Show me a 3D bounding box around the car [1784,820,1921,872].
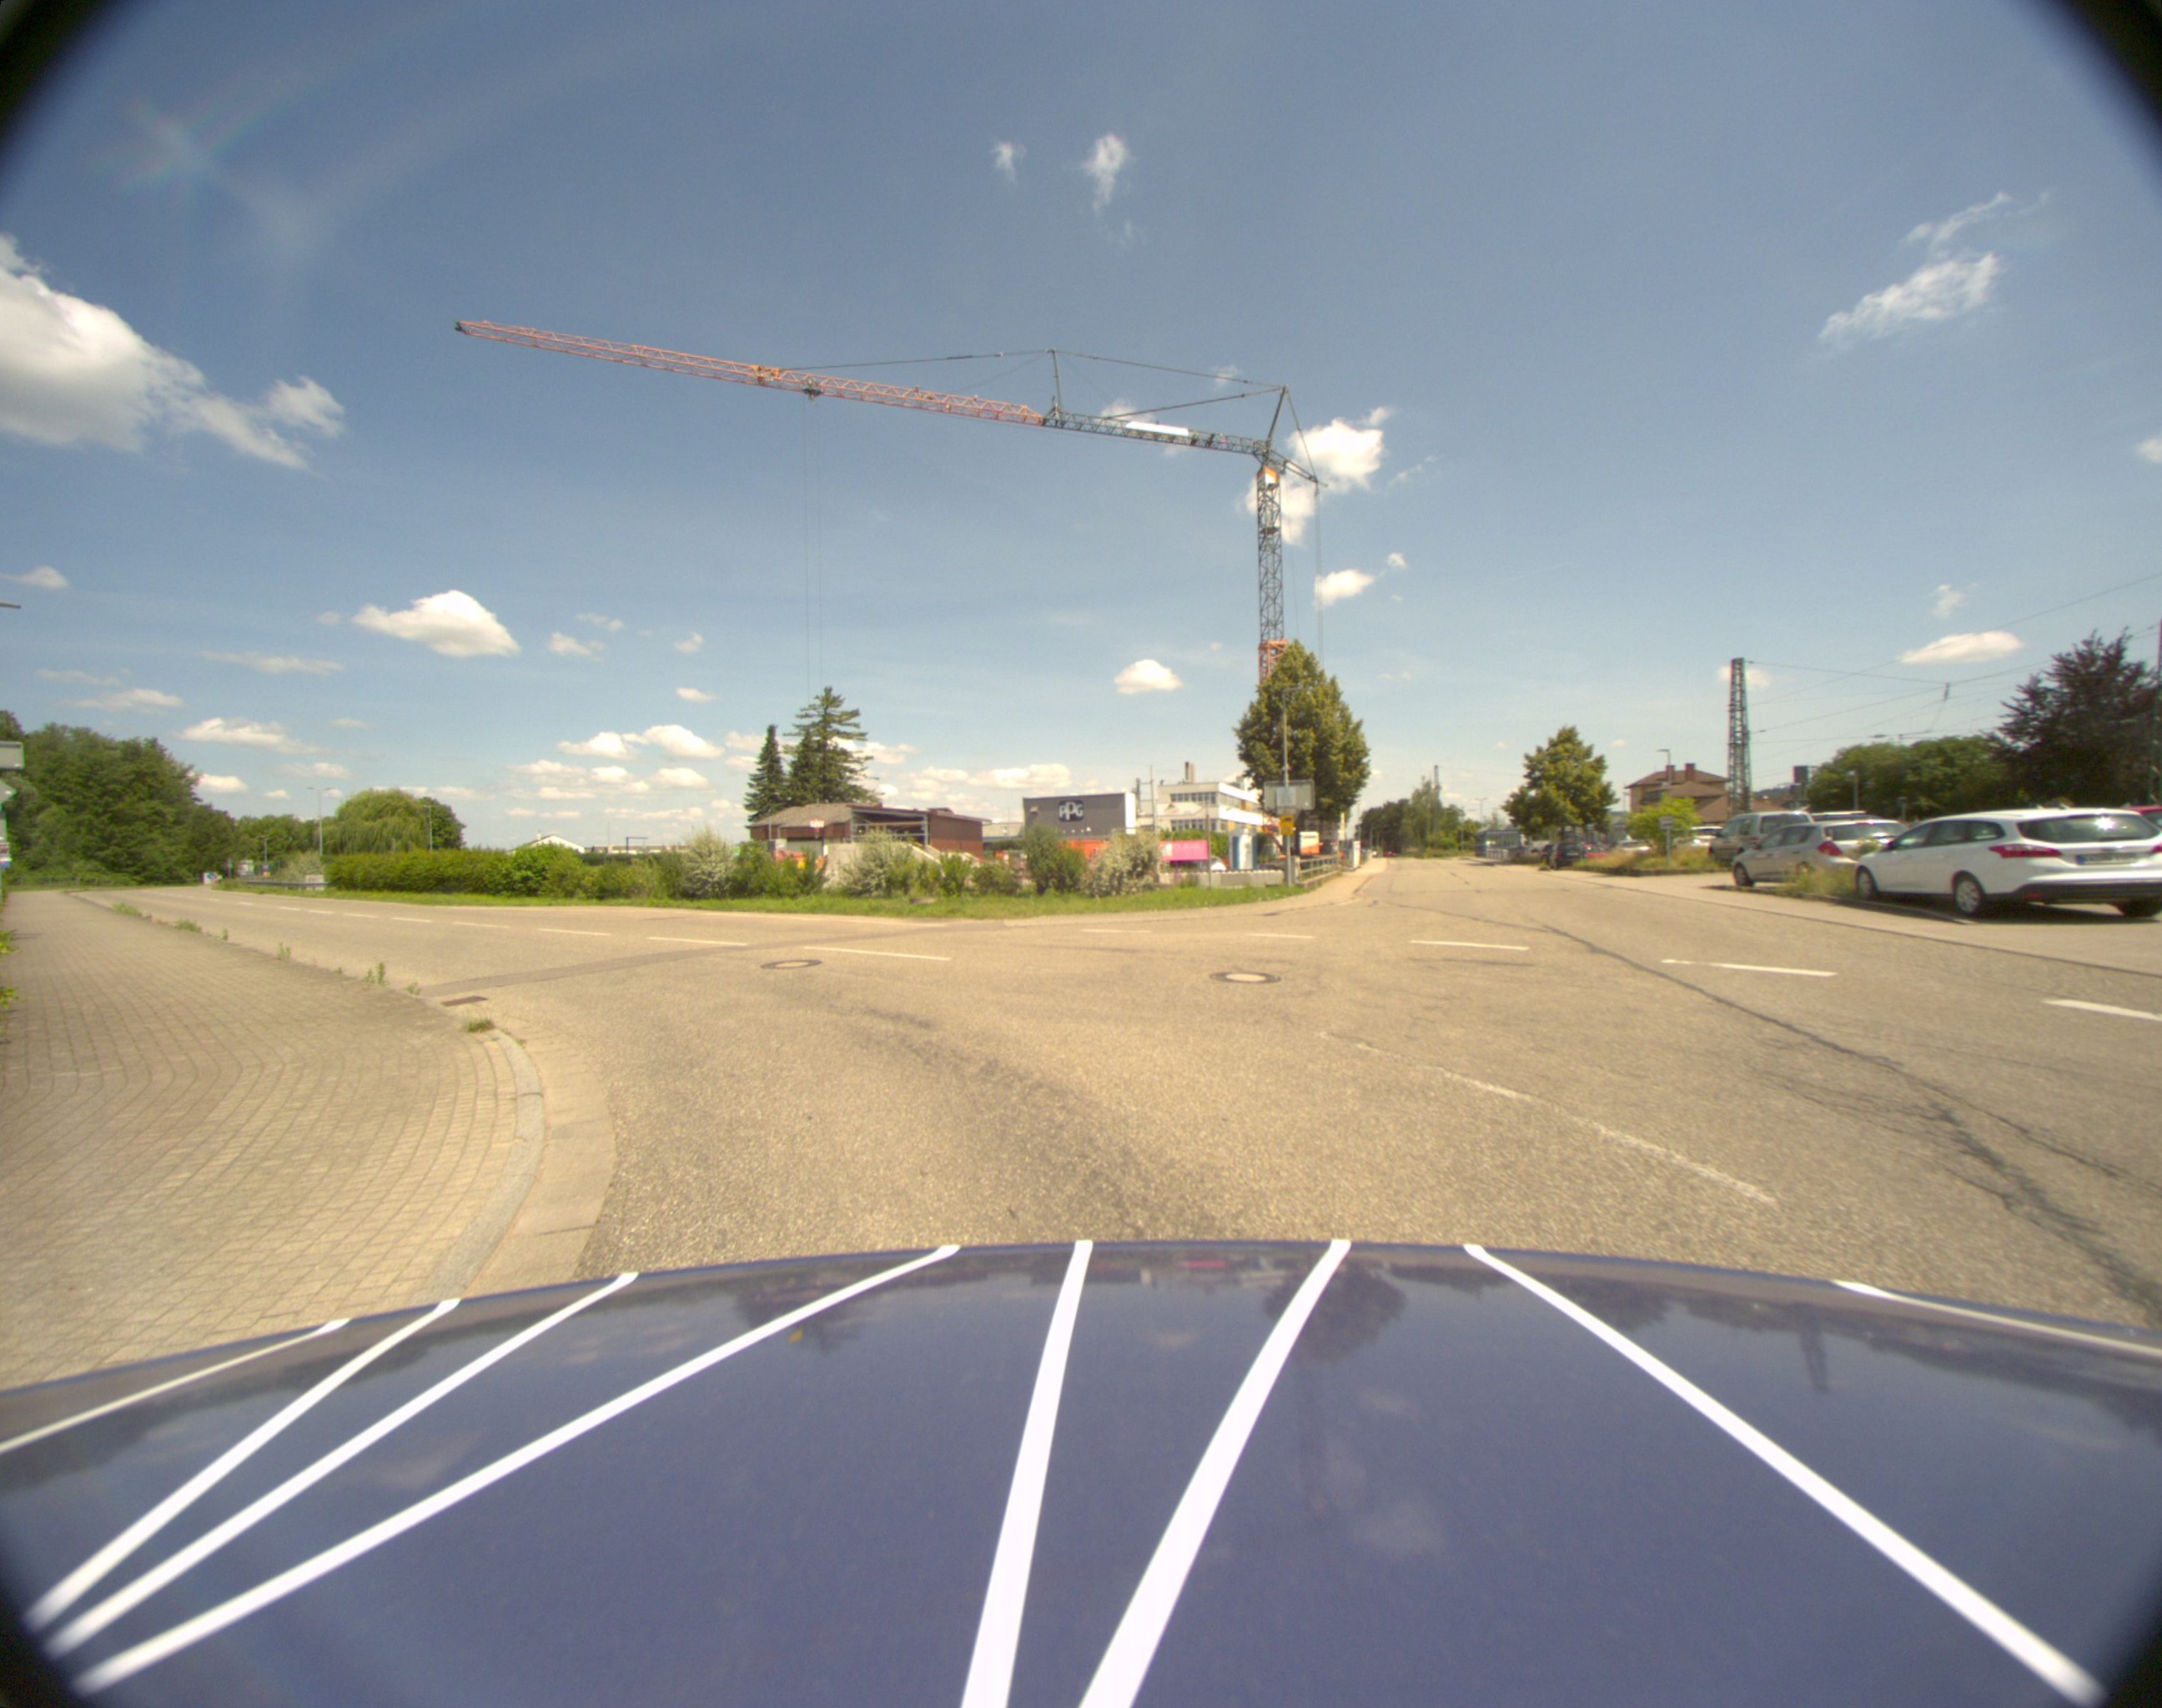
[{"bbox_3d":[25.919,-0.270,25.742,1.950,1.600,4.279,-1,1,26],"label":"car"}]

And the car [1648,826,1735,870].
[{"bbox_3d":[25.148,-0.247,31.452,1.729,1.676,4.006,0,1,22],"label":"car"}]

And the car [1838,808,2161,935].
[{"bbox_3d":[13.616,0.187,11.364,1.805,1.555,4.269,-1,1,23],"label":"car"}]

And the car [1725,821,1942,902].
[{"bbox_3d":[16.085,0.130,16.546,1.792,1.535,3.965,-1,1,18],"label":"car"}]

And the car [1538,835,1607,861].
[{"bbox_3d":[32.042,-0.400,49.579,3.432,1.583,1.651,-1,3,15],"label":"car"}]

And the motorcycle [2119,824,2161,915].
[{"bbox_3d":[16.179,0.238,10.480,0.738,1.365,3.219,-1,1,25],"label":"motorcycle"}]

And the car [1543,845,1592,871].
[{"bbox_3d":[27.055,0.183,42.395,1.605,1.342,4.006,-1,1,22],"label":"car"}]

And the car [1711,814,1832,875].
[{"bbox_3d":[22.457,-0.310,24.892,1.950,1.822,3.841,-1,1,26],"label":"car"}]

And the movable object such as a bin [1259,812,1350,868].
[{"bbox_3d":[14.108,-0.940,48.222,5.124,3.277,2.394,-1,6,4],"label":"movable object such as a bin"}]

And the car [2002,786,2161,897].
[{"bbox_3d":[21.058,-0.264,15.201,1.847,2.002,4.007,-1,1,26],"label":"car"}]

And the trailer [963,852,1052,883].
[{"bbox_3d":[-4.713,0.857,49.096,5.391,1.769,1.822,-1,3,8],"label":"trailer"}]
